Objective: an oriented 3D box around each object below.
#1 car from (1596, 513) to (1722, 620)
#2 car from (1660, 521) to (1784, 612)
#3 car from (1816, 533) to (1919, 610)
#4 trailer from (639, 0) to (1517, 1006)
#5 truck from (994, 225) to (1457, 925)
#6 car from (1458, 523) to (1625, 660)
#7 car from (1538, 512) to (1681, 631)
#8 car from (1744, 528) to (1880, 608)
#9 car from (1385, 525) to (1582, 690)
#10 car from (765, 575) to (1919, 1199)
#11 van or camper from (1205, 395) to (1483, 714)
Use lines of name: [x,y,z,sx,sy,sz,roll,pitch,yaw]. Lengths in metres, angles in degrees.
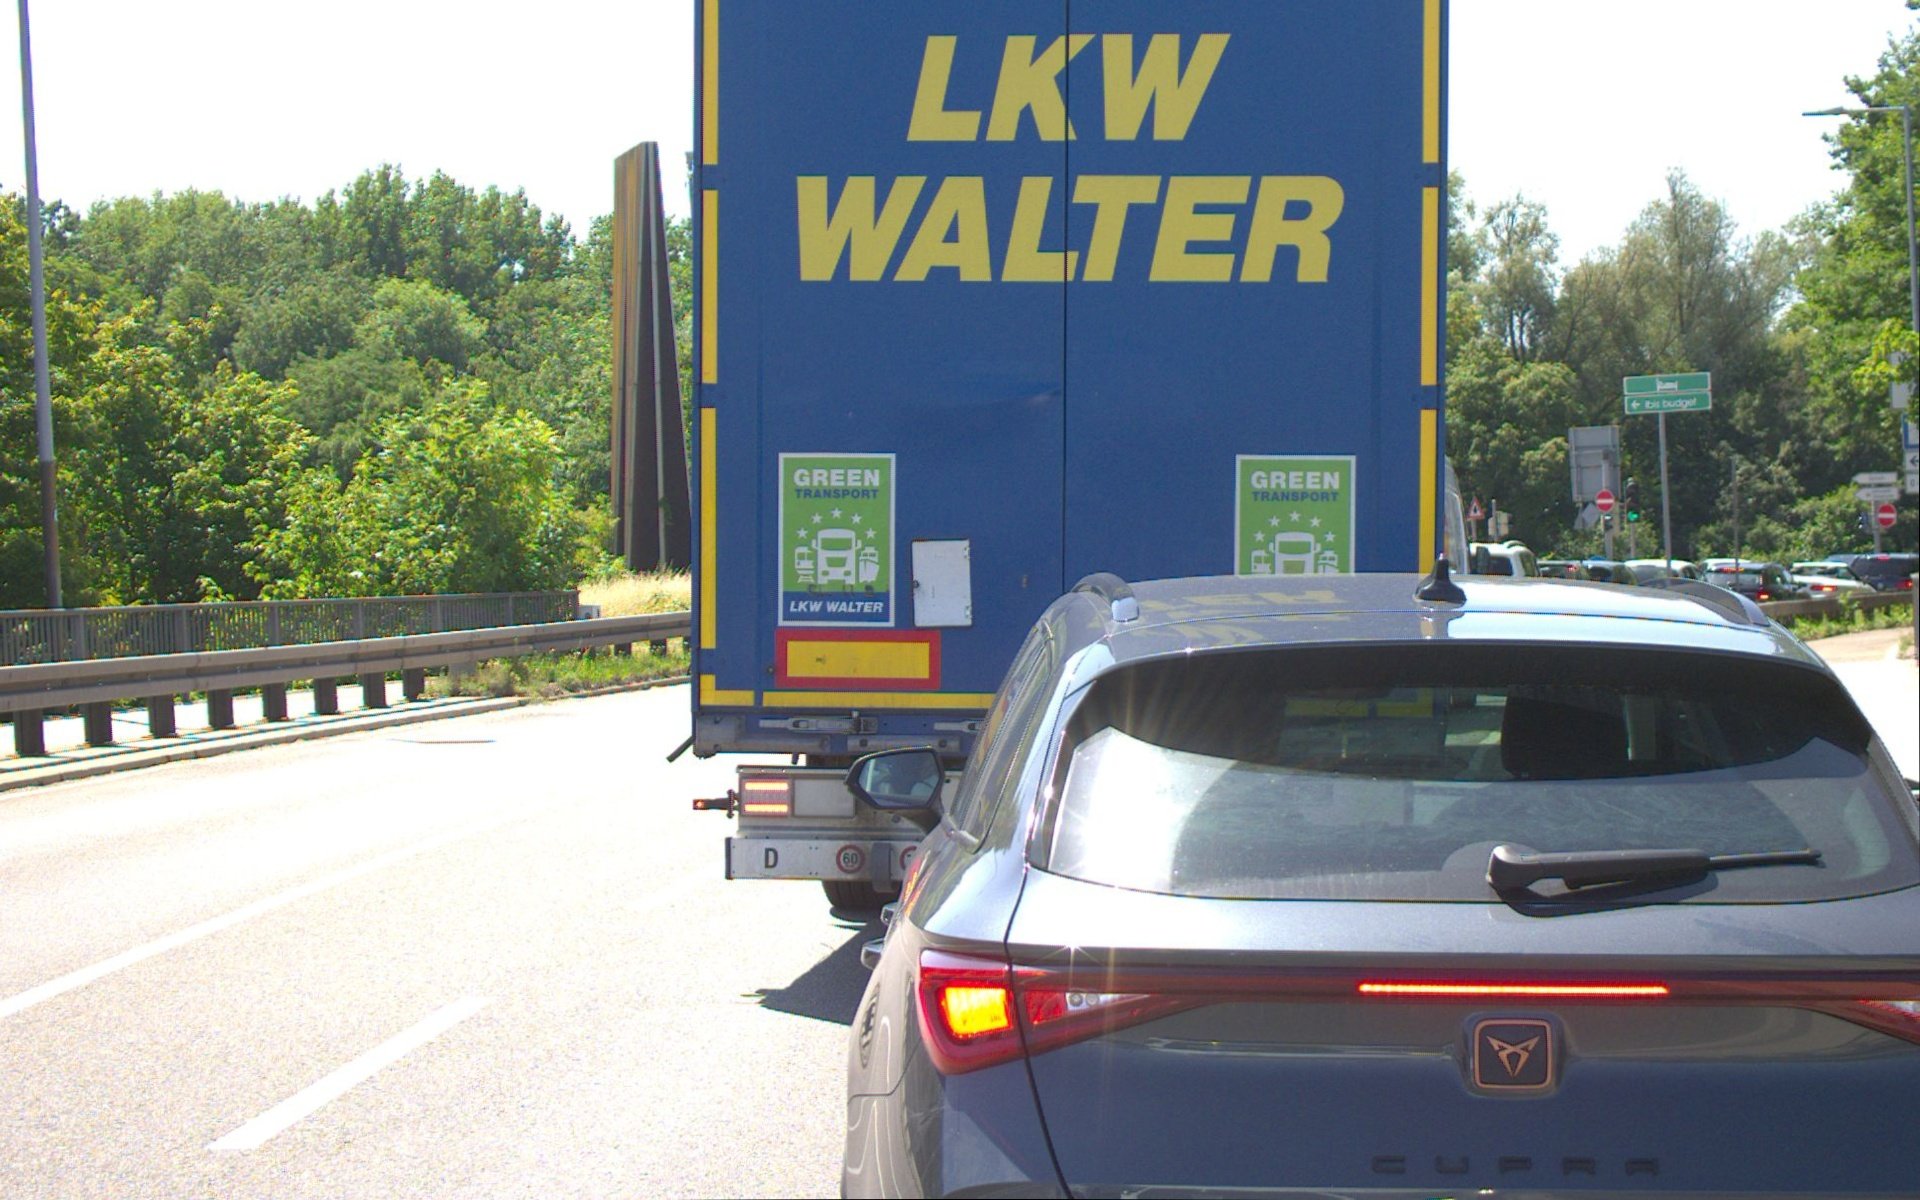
car: [12.539,-0.618,61.498,1.722,1.837,3.996,0,1,19]
car: [15.124,-0.648,68.150,1.687,1.754,3.995,0,0,23]
car: [21.362,-0.652,80.360,1.688,1.754,3.994,0,0,28]
trailer: [1.143,-0.995,17.554,2.905,4.403,12.430,0,1,7]
truck: [2.086,-0.224,25.045,2.905,4.403,6.554,0,1,7]
car: [8.045,-0.153,47.310,1.722,1.796,3.997,0,1,18]
car: [10.484,-0.483,55.291,1.722,1.837,3.996,0,1,19]
car: [18.463,-0.686,74.402,1.996,1.570,3.994,2,0,26]
car: [6.284,0.039,40.993,1.722,1.837,3.997,0,2,18]
car: [0.673,0.697,5.955,1.677,1.451,3.958,0,1,2]
van or camper: [3.872,-0.458,33.610,2.155,2.806,6.384,0,1,11]
